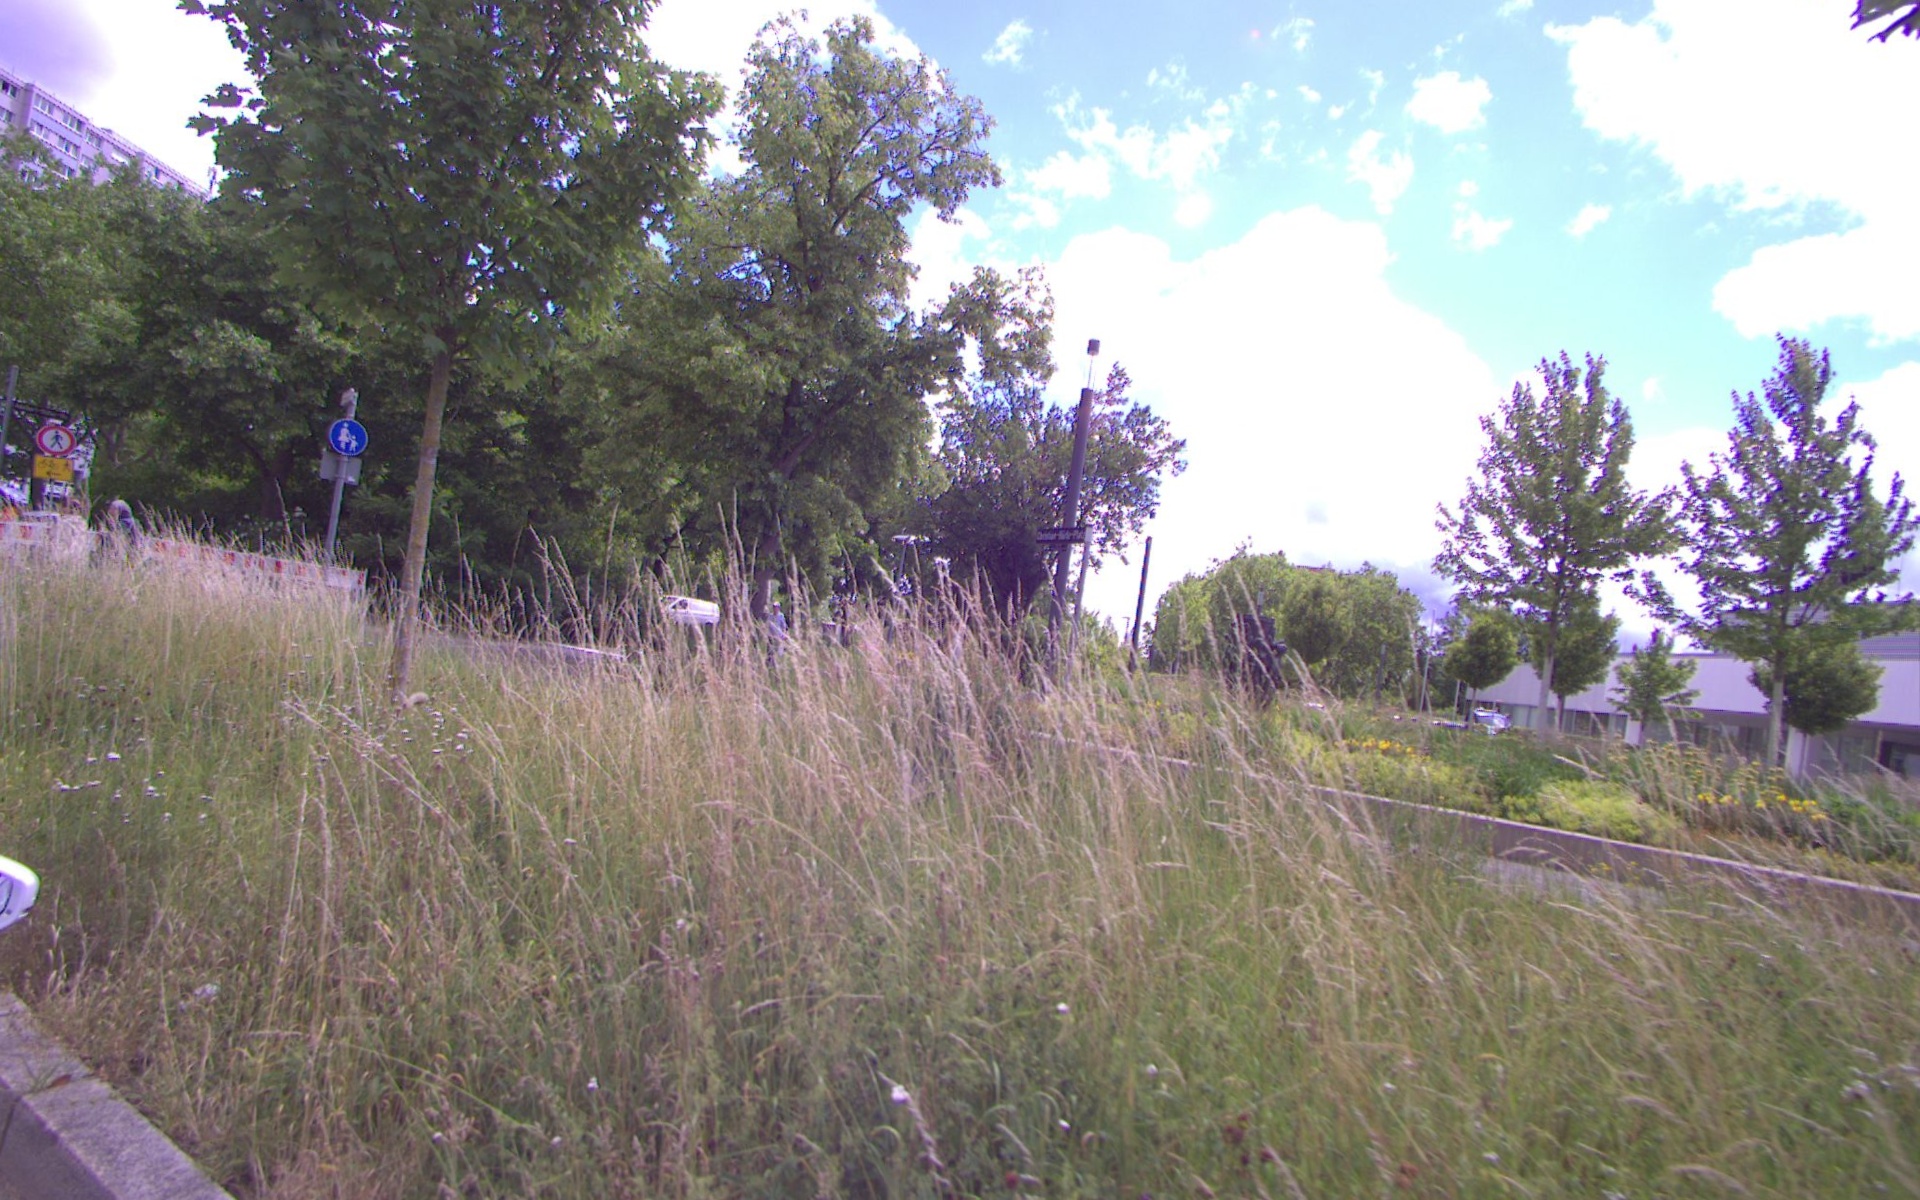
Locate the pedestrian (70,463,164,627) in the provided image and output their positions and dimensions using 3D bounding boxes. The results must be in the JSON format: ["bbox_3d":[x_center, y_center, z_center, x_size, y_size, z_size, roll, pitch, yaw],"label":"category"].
[{"bbox_3d":[-11.005,-0.704,13.146,0.483,2.036,0.563,7,-2,22],"label":"pedestrian"}]

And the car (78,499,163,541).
[{"bbox_3d":[-52.918,-5.007,63.507,1.966,1.976,3.999,9,-2,-6],"label":"car"}]

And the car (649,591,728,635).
[{"bbox_3d":[-15.203,0.749,56.521,1.965,1.836,4.001,8,-3,26],"label":"car"}]

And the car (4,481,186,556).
[{"bbox_3d":[-28.217,-2.628,32.947,1.966,1.624,3.997,7,-3,31],"label":"car"}]

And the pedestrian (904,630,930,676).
[{"bbox_3d":[-1.587,1.953,37.251,0.636,1.598,0.488,8,-1,18],"label":"pedestrian"}]

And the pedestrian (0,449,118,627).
[{"bbox_3d":[-10.991,-0.740,12.266,0.623,2.036,0.674,7,-2,22],"label":"pedestrian"}]

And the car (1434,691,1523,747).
[{"bbox_3d":[29.629,6.770,57.696,2.406,2.501,4.792,8,-2,2],"label":"car"}]

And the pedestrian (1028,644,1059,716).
[{"bbox_3d":[2.361,2.255,28.334,0.399,1.973,0.577,8,-1,32],"label":"pedestrian"}]

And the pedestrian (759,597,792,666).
[{"bbox_3d":[-4.923,0.843,26.855,0.567,1.763,0.488,8,-1,-5],"label":"pedestrian"}]
